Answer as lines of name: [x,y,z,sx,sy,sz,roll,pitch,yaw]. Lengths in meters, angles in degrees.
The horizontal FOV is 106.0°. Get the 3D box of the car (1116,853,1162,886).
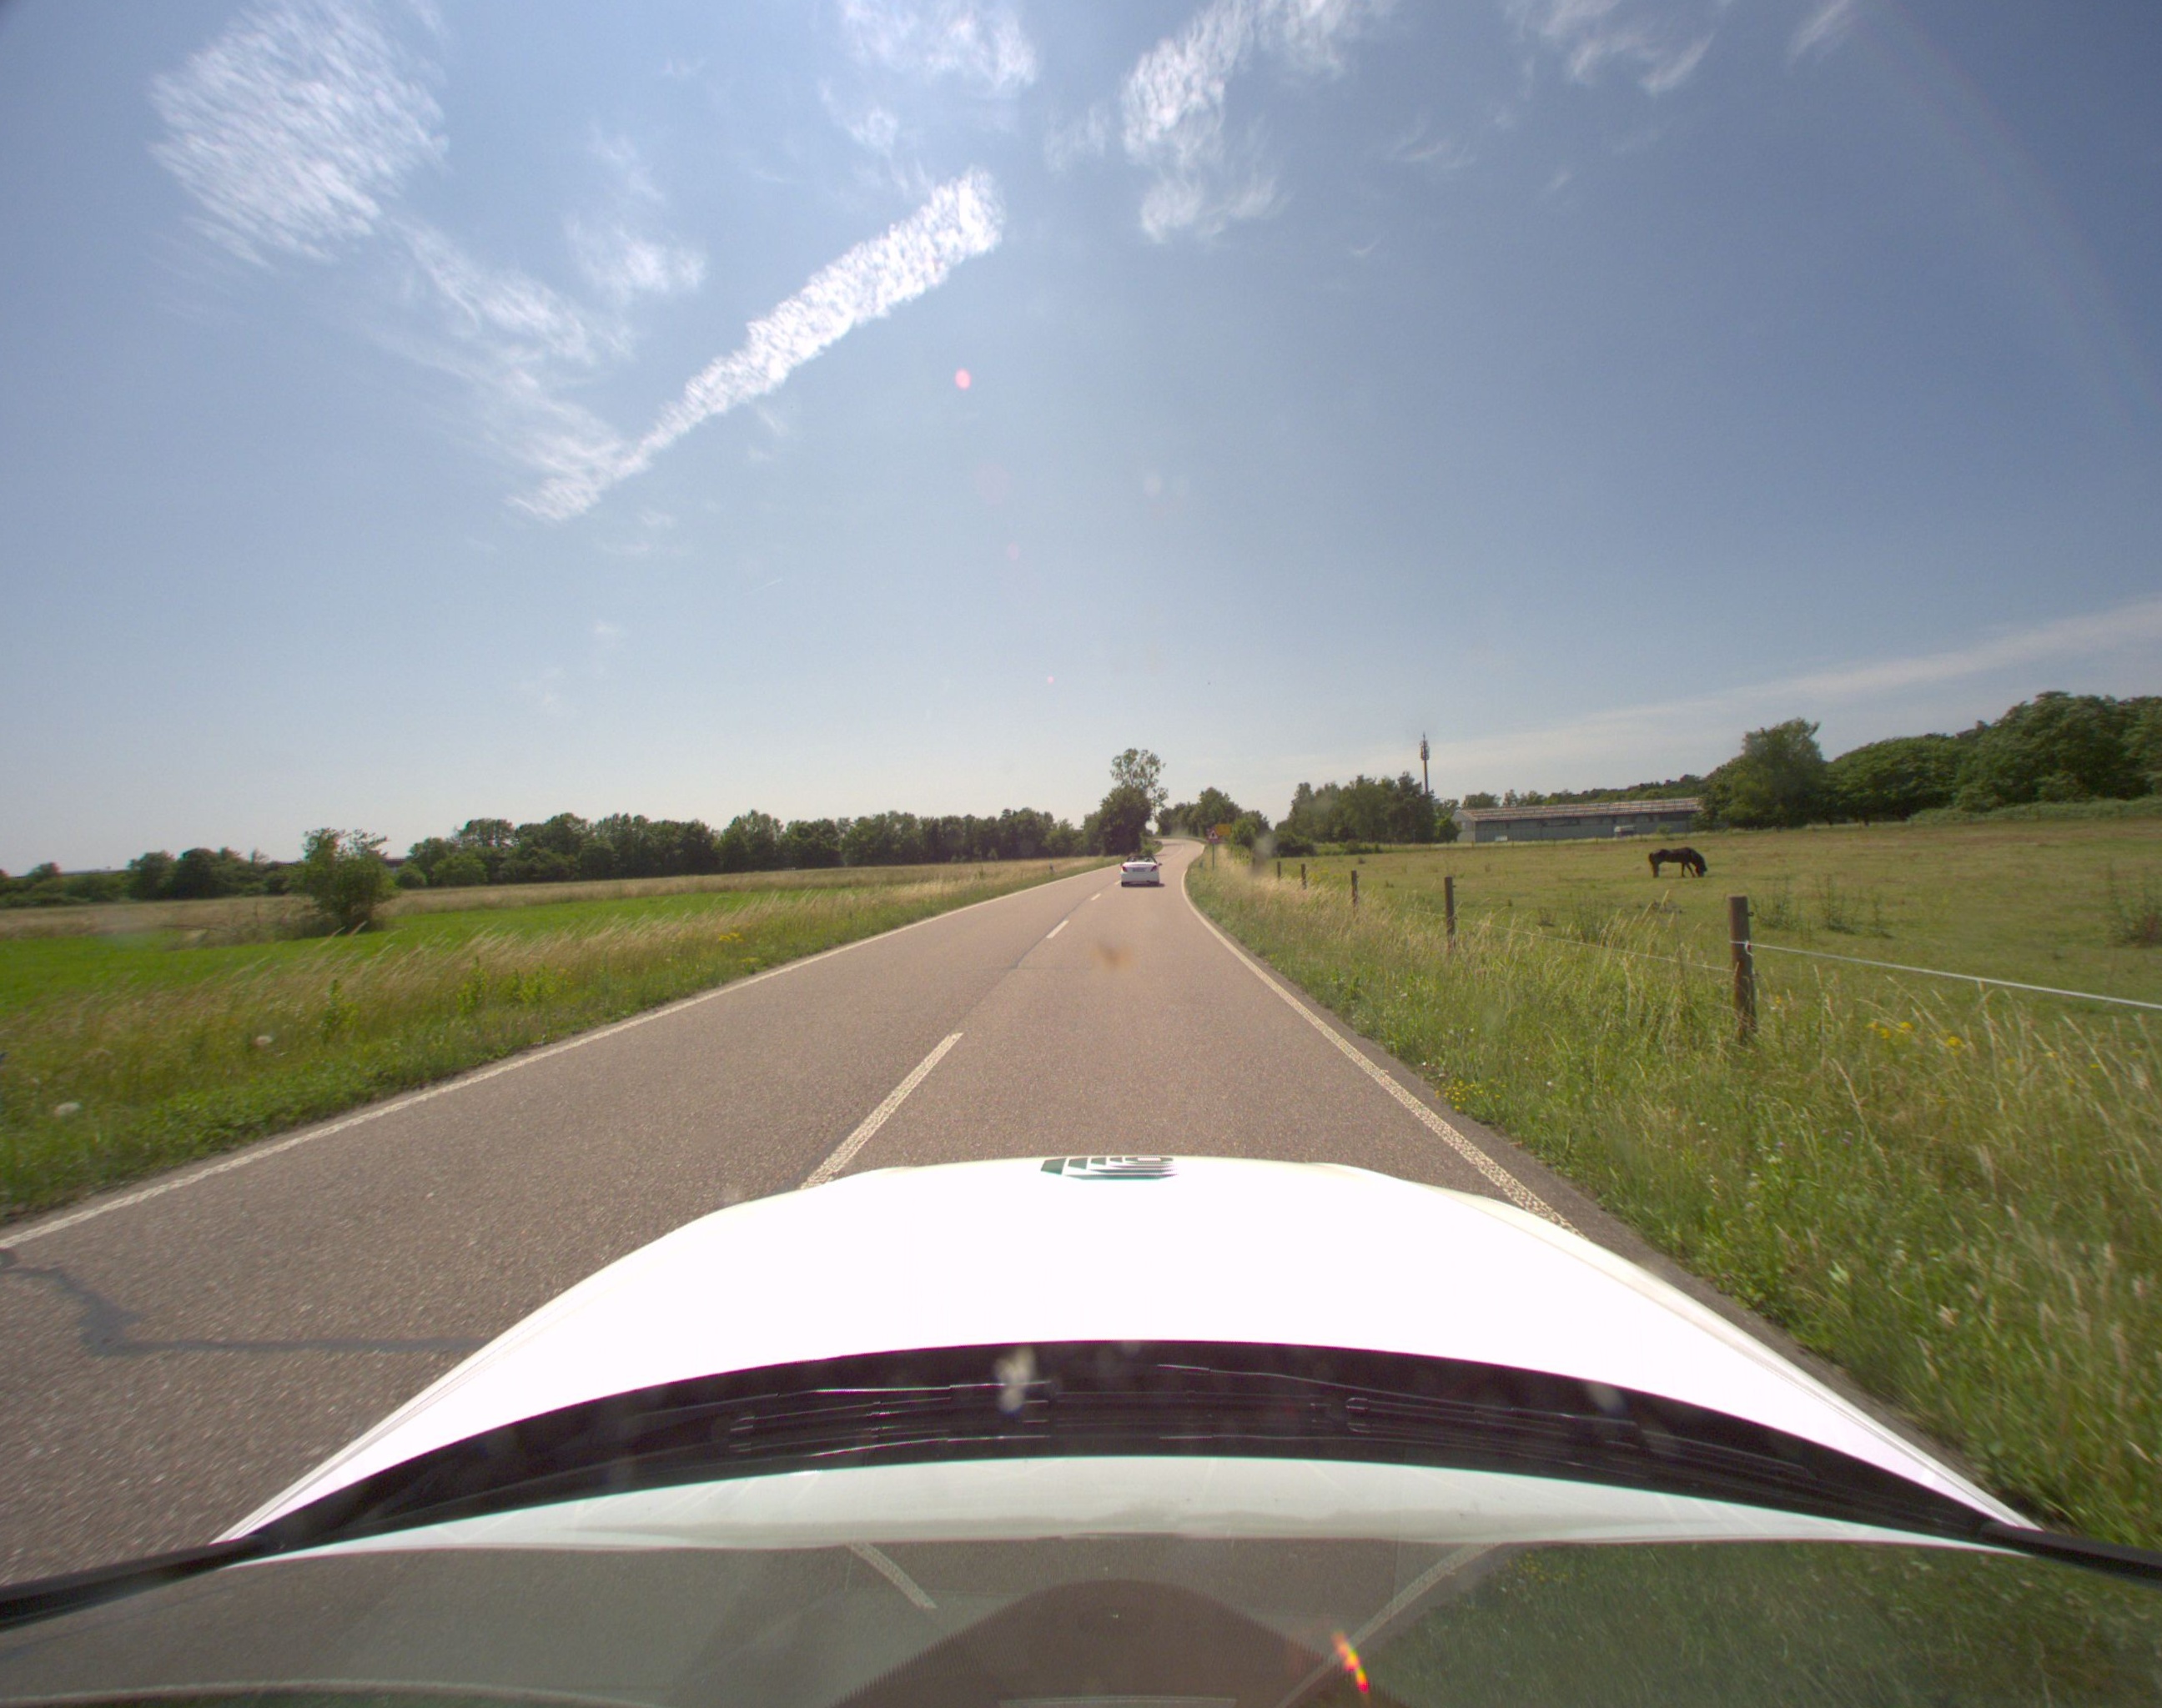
car: [2.774,0.701,38.048,1.840,1.379,4.009,-1,1,8]
